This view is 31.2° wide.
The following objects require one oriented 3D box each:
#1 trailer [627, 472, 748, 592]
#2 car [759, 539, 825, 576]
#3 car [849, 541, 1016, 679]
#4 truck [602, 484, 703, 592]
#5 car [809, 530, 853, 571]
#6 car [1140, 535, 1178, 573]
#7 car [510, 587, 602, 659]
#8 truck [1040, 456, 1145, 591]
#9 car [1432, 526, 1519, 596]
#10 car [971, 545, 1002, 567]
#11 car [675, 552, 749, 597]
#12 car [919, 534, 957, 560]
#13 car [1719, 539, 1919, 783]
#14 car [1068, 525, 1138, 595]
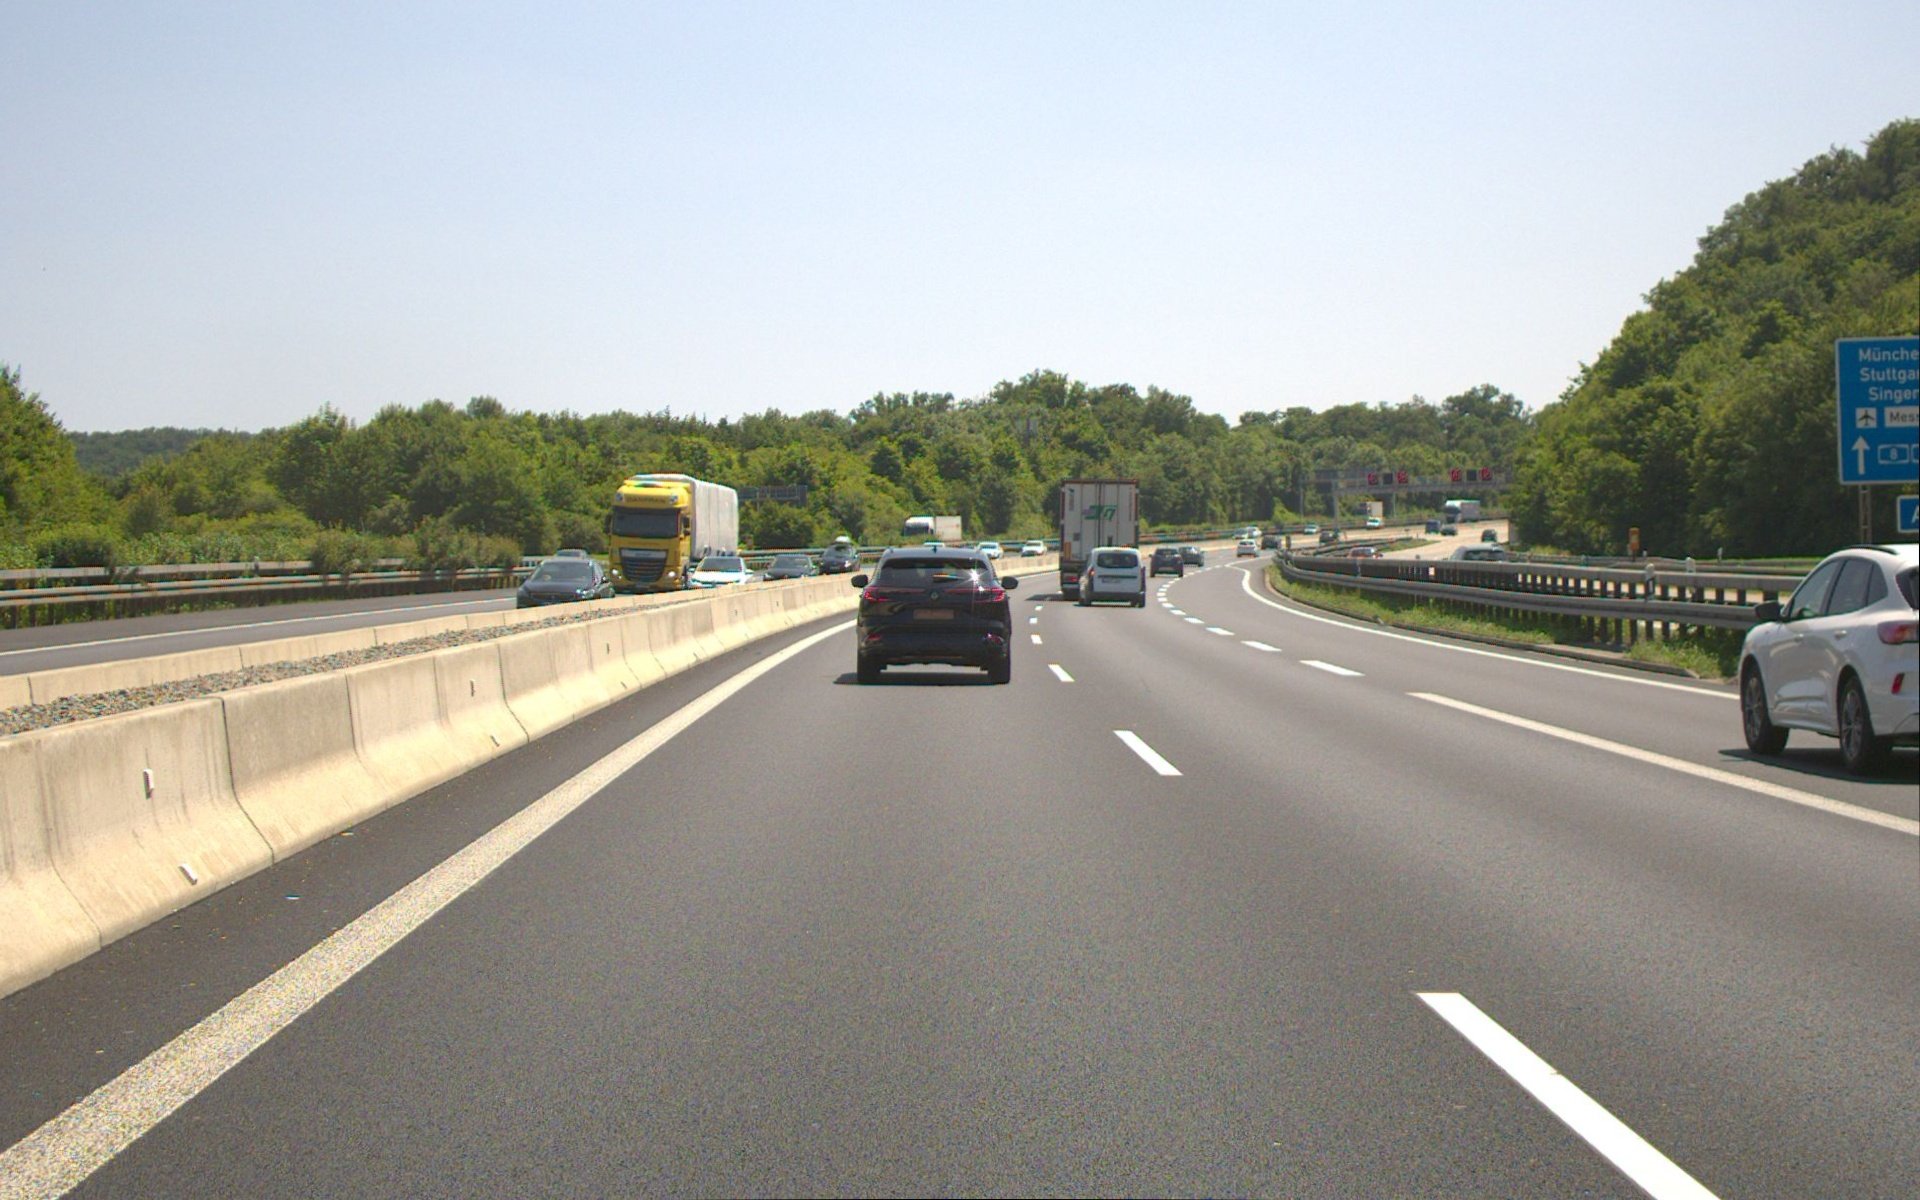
[{"bbox_3d":[-10.244,-2.506,130.404,2.718,4.297,12.822,1,0,4],"label":"trailer"},{"bbox_3d":[-6.253,-1.575,128.643,1.994,1.345,4.258,1,0,3],"label":"car"},{"bbox_3d":[-0.380,0.098,41.305,1.779,1.572,4.001,0,0,-3],"label":"car"},{"bbox_3d":[-10.848,-2.175,121.555,2.750,3.742,4.865,1,0,5],"label":"truck"},{"bbox_3d":[-6.765,-2.596,180.296,1.993,2.074,4.704,0,1,1],"label":"car"},{"bbox_3d":[10.822,-2.473,186.622,1.994,2.007,4.000,1,0,4],"label":"car"},{"bbox_3d":[-9.081,0.493,77.582,1.728,1.531,4.614,0,0,-3],"label":"car"},{"bbox_3d":[4.647,-2.559,118.463,3.032,4.403,12.016,1,0,5],"label":"truck"},{"bbox_3d":[15.388,-1.189,102.812,1.993,2.007,4.000,-1,1,0],"label":"car"},{"bbox_3d":[2.008,-3.275,256.065,1.994,1.538,5.041,1,0,4],"label":"car"},{"bbox_3d":[-7.774,-0.820,108.087,1.993,1.369,4.663,0,1,0],"label":"car"},{"bbox_3d":[-1.420,-3.467,225.949,1.869,1.660,4.662,1,0,7],"label":"car"},{"bbox_3d":[7.212,0.402,25.612,1.993,1.656,4.468,1,0,-2],"label":"car"},{"bbox_3d":[4.308,-1.224,103.931,1.993,2.007,4.000,-3,1,2],"label":"car"}]
